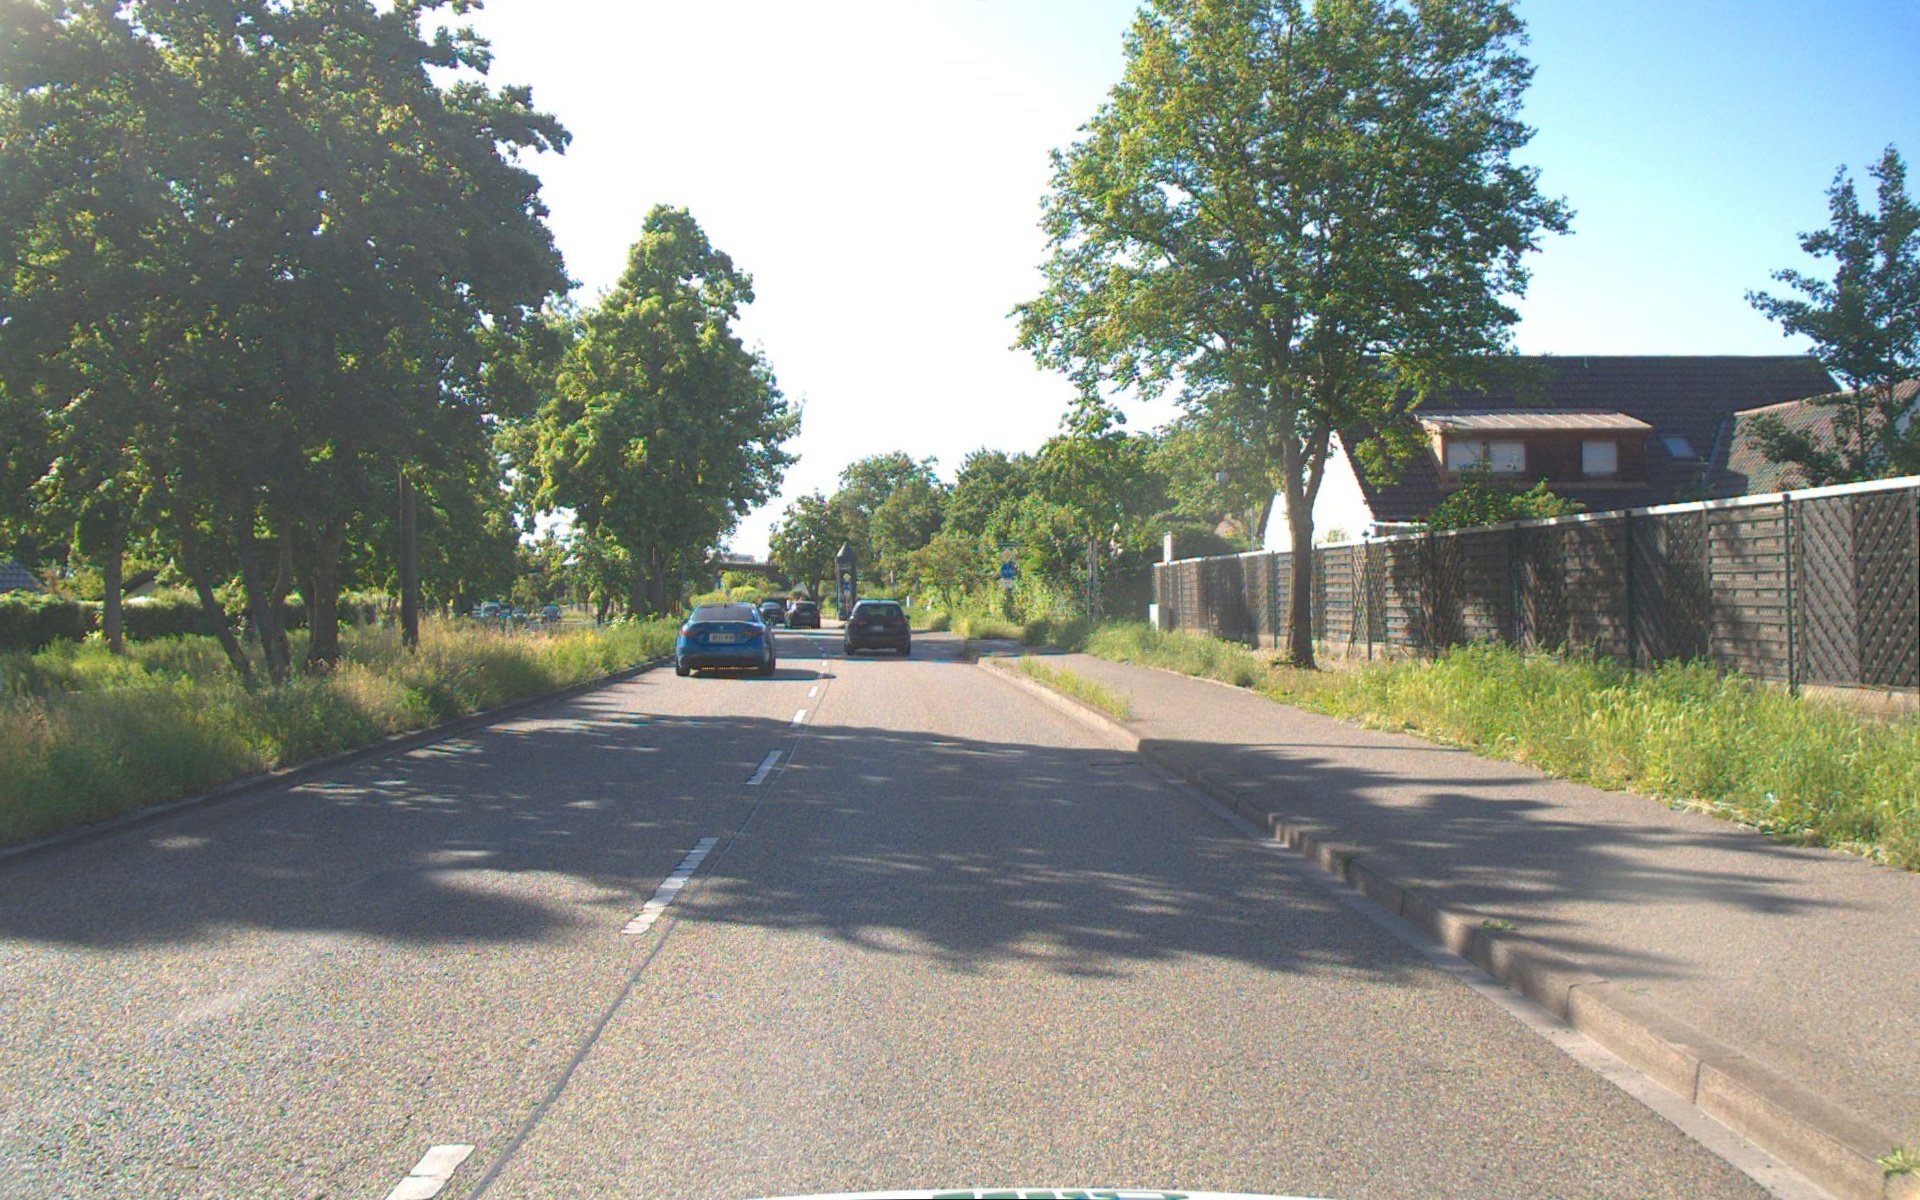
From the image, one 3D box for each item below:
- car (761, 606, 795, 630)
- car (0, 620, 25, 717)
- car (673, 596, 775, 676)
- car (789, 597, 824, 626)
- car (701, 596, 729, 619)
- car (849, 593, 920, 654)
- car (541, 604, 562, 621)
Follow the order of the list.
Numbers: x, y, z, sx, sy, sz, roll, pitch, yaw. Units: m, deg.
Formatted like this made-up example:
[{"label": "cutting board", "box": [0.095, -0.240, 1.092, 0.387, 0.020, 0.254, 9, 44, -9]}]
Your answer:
[{"label": "car", "box": [-13.006, 1.286, 118.047, 1.883, 1.707, 3.997, 0, 0, -14]}, {"label": "car", "box": [-15.696, 1.120, 24.276, 1.636, 1.493, 4.177, -3, 0, -2]}, {"label": "car", "box": [-4.701, 0.681, 33.451, 1.803, 1.500, 4.180, 0, 0, -5]}, {"label": "car", "box": [-8.710, 0.662, 93.679, 1.879, 1.607, 4.175, 0, 0, -7]}, {"label": "car", "box": [-17.110, 0.517, 115.437, 1.880, 1.538, 4.059, -1, 0, -9]}, {"label": "car", "box": [-2.146, 0.630, 46.012, 1.877, 1.607, 4.179, 0, 0, -4]}, {"label": "car", "box": [-36.198, 1.122, 146.442, 1.640, 1.493, 3.771, 0, 0, -12]}]
